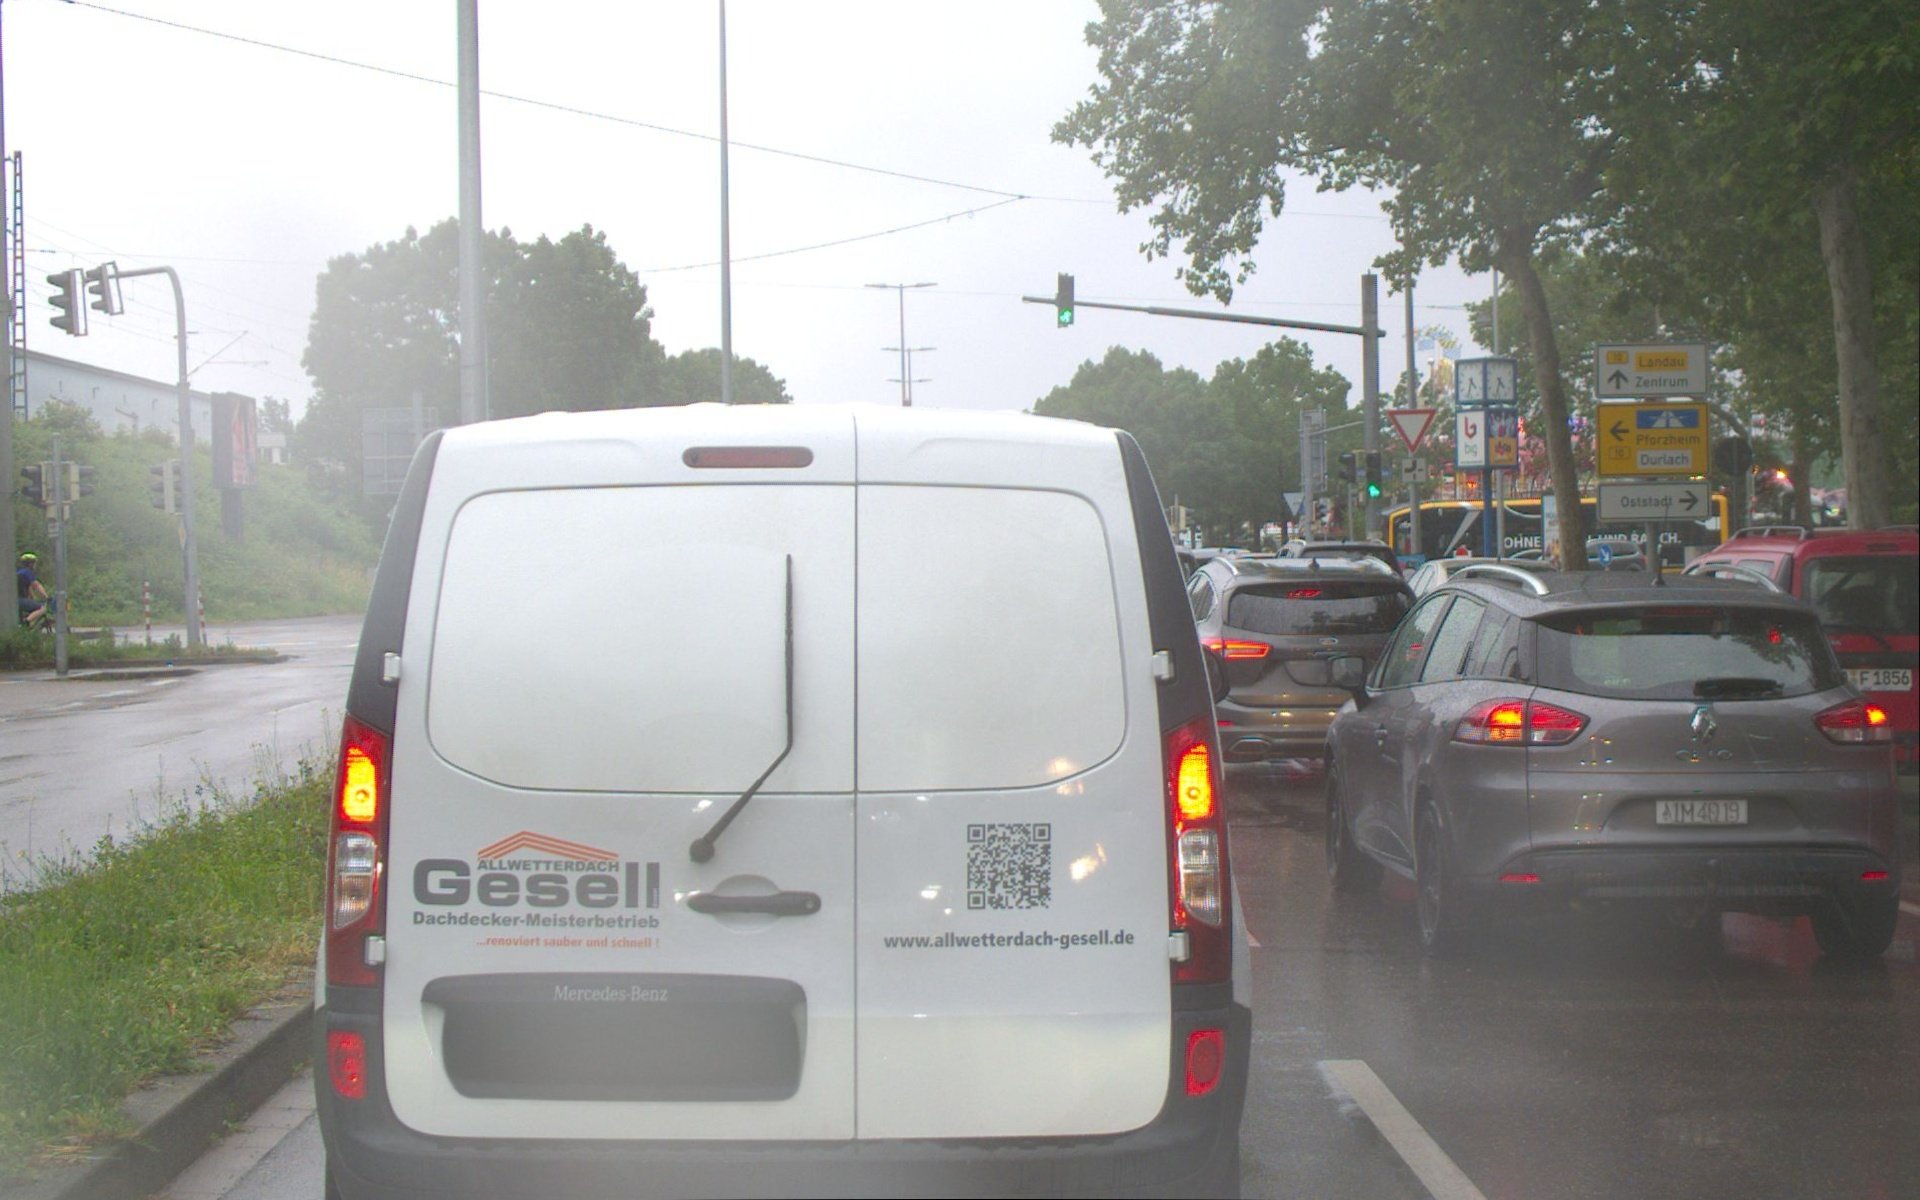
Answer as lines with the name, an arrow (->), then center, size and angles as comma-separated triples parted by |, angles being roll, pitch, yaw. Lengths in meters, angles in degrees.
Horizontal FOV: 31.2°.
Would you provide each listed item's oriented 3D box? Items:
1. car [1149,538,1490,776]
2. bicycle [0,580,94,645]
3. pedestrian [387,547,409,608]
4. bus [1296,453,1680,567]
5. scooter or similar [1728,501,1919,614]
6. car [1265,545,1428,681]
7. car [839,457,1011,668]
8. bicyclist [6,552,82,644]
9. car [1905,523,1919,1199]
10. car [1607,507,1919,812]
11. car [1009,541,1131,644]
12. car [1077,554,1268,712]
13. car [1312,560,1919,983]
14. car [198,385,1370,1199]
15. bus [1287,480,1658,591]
car -> 2.335, 0.318, 23.207 | 1.854, 1.455, 3.843 | 0, 1, -1
bicycle -> -14.819, 0.186, 55.583 | 1.040, 0.949, 2.889 | -2, 2, -25
pedestrian -> -15.701, -0.634, 96.114 | 0.543, 1.710, 0.563 | 1, 0, -4
bus -> 16.965, -2.909, 110.884 | 11.970, 3.411, 2.315 | -1, 1, 0
scooter or similar -> 19.990, -0.963, 77.069 | 1.890, 2.437, 5.316 | -1, 1, -41
car -> 5.127, 0.138, 46.058 | 1.708, 1.722, 3.843 | 0, 1, -1
car -> -0.400, -0.450, 39.275 | 1.854, 2.288, 3.843 | 0, 1, -1
bicyclist -> -14.785, -0.034, 55.507 | 1.040, 1.445, 0.729 | -2, 2, -25
car -> 2.976, 0.647, 5.417 | 1.747, 1.549, 4.091 | 0, 1, -1
car -> 5.302, 0.328, 21.286 | 1.710, 1.688, 4.272 | 1, 0, -1
car -> 1.799, -0.142, 57.348 | 1.854, 1.644, 3.843 | 0, 1, -1
car -> 2.332, 0.328, 38.565 | 1.854, 1.644, 3.843 | 0, 1, -1
car -> 2.501, 0.571, 13.769 | 1.683, 1.403, 3.843 | 1, 1, -1
car -> -0.322, 0.473, 8.167 | 1.993, 1.770, 4.585 | 0, 1, -1
bus -> 17.076, -2.168, 114.867 | 11.969, 3.411, 2.483 | -1, 1, -4
